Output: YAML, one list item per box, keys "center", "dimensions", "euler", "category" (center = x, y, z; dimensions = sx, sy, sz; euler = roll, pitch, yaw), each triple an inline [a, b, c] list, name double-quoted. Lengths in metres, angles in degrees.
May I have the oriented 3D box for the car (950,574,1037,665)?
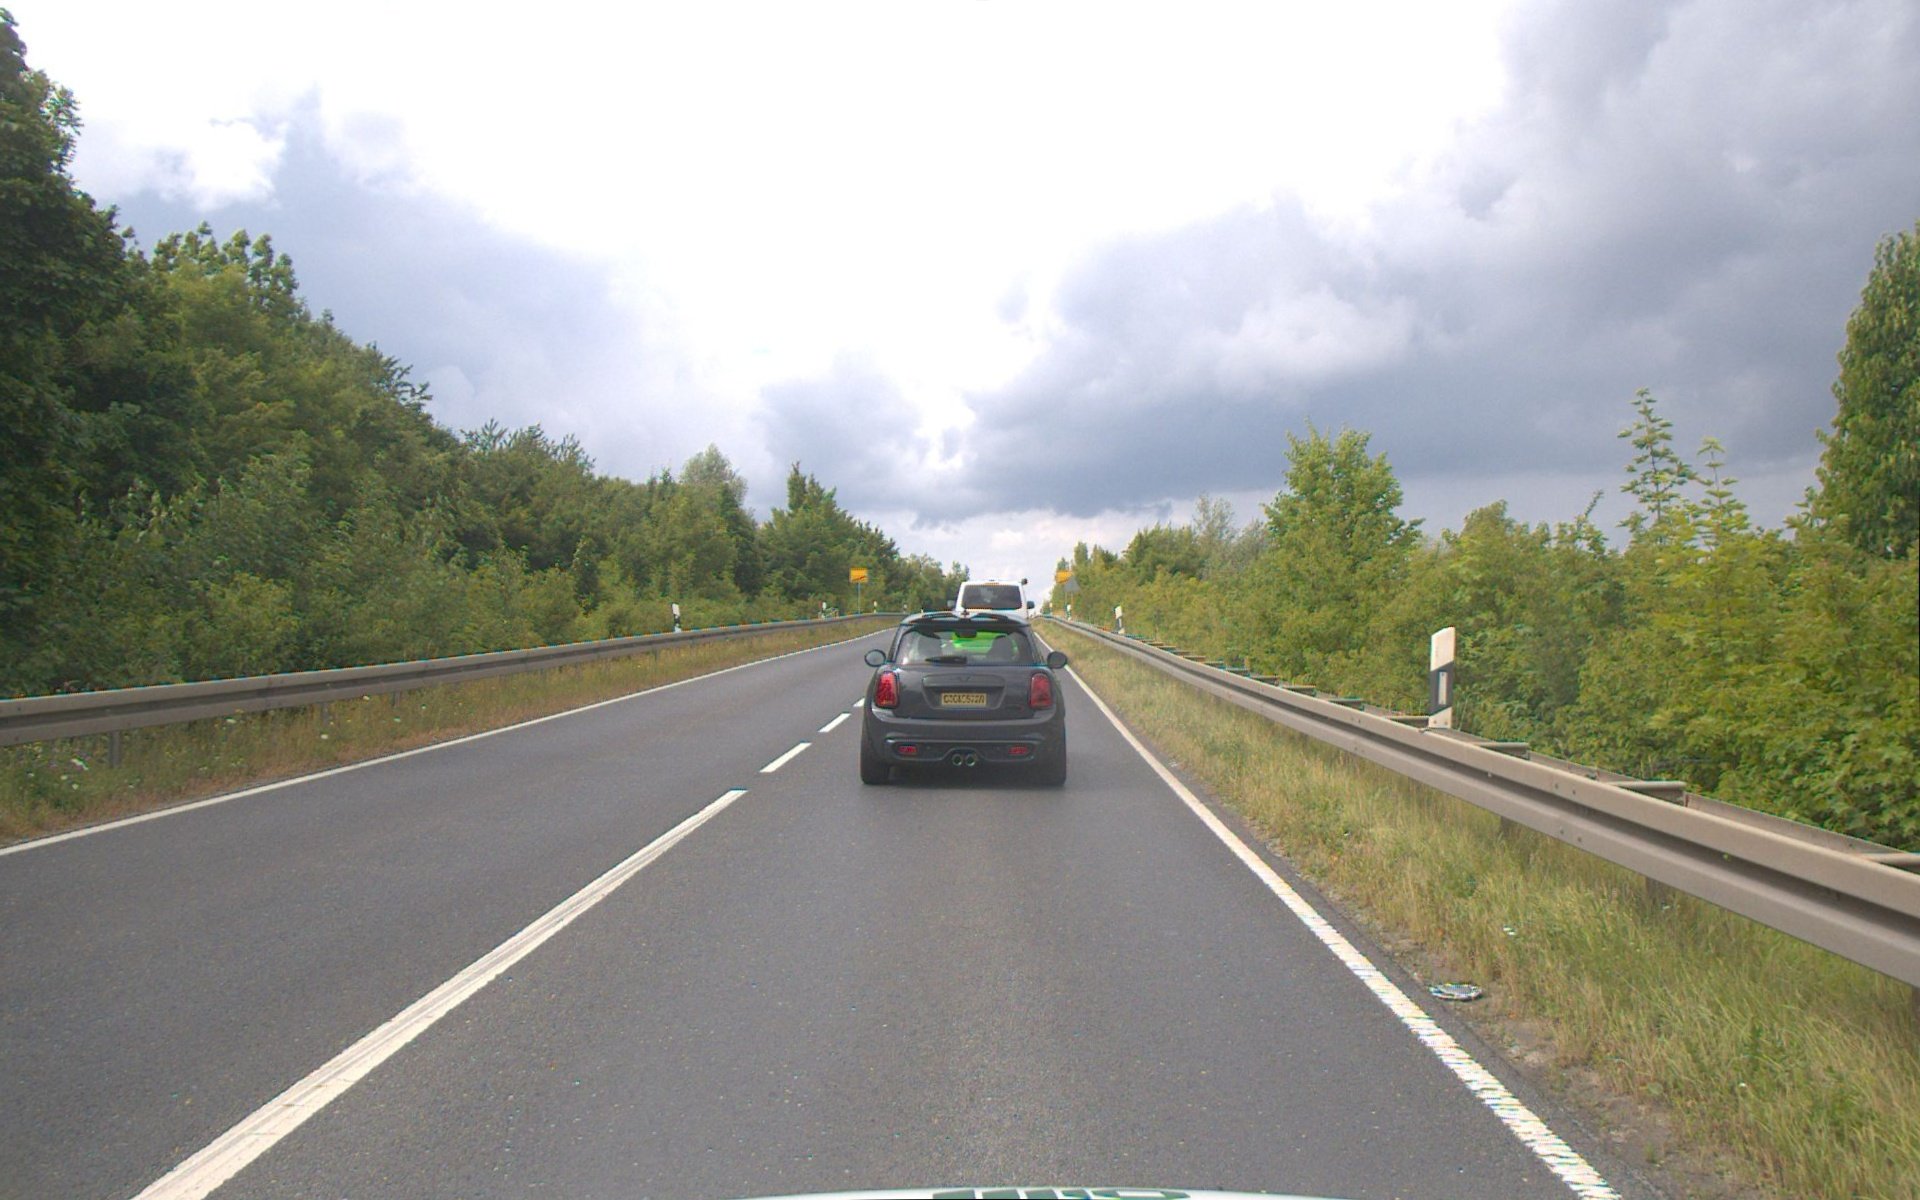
- center: [0.824, 0.446, 40.431]
  dimensions: [1.980, 2.048, 4.001]
  euler: [2, 0, 1]
  category: "car"

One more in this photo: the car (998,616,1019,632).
- center: [4.286, 2.111, 145.003]
  dimensions: [1.659, 1.342, 4.002]
  euler: [-1, 0, 3]
  category: "car"

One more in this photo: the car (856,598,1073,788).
- center: [-0.034, 0.748, 15.100]
  dimensions: [1.697, 1.481, 3.998]
  euler: [1, 0, -2]
  category: "car"

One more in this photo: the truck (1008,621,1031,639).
- center: [8.818, 4.461, 244.432]
  dimensions: [2.849, 2.413, 10.457]
  euler: [-2, 0, 4]
  category: "truck"
